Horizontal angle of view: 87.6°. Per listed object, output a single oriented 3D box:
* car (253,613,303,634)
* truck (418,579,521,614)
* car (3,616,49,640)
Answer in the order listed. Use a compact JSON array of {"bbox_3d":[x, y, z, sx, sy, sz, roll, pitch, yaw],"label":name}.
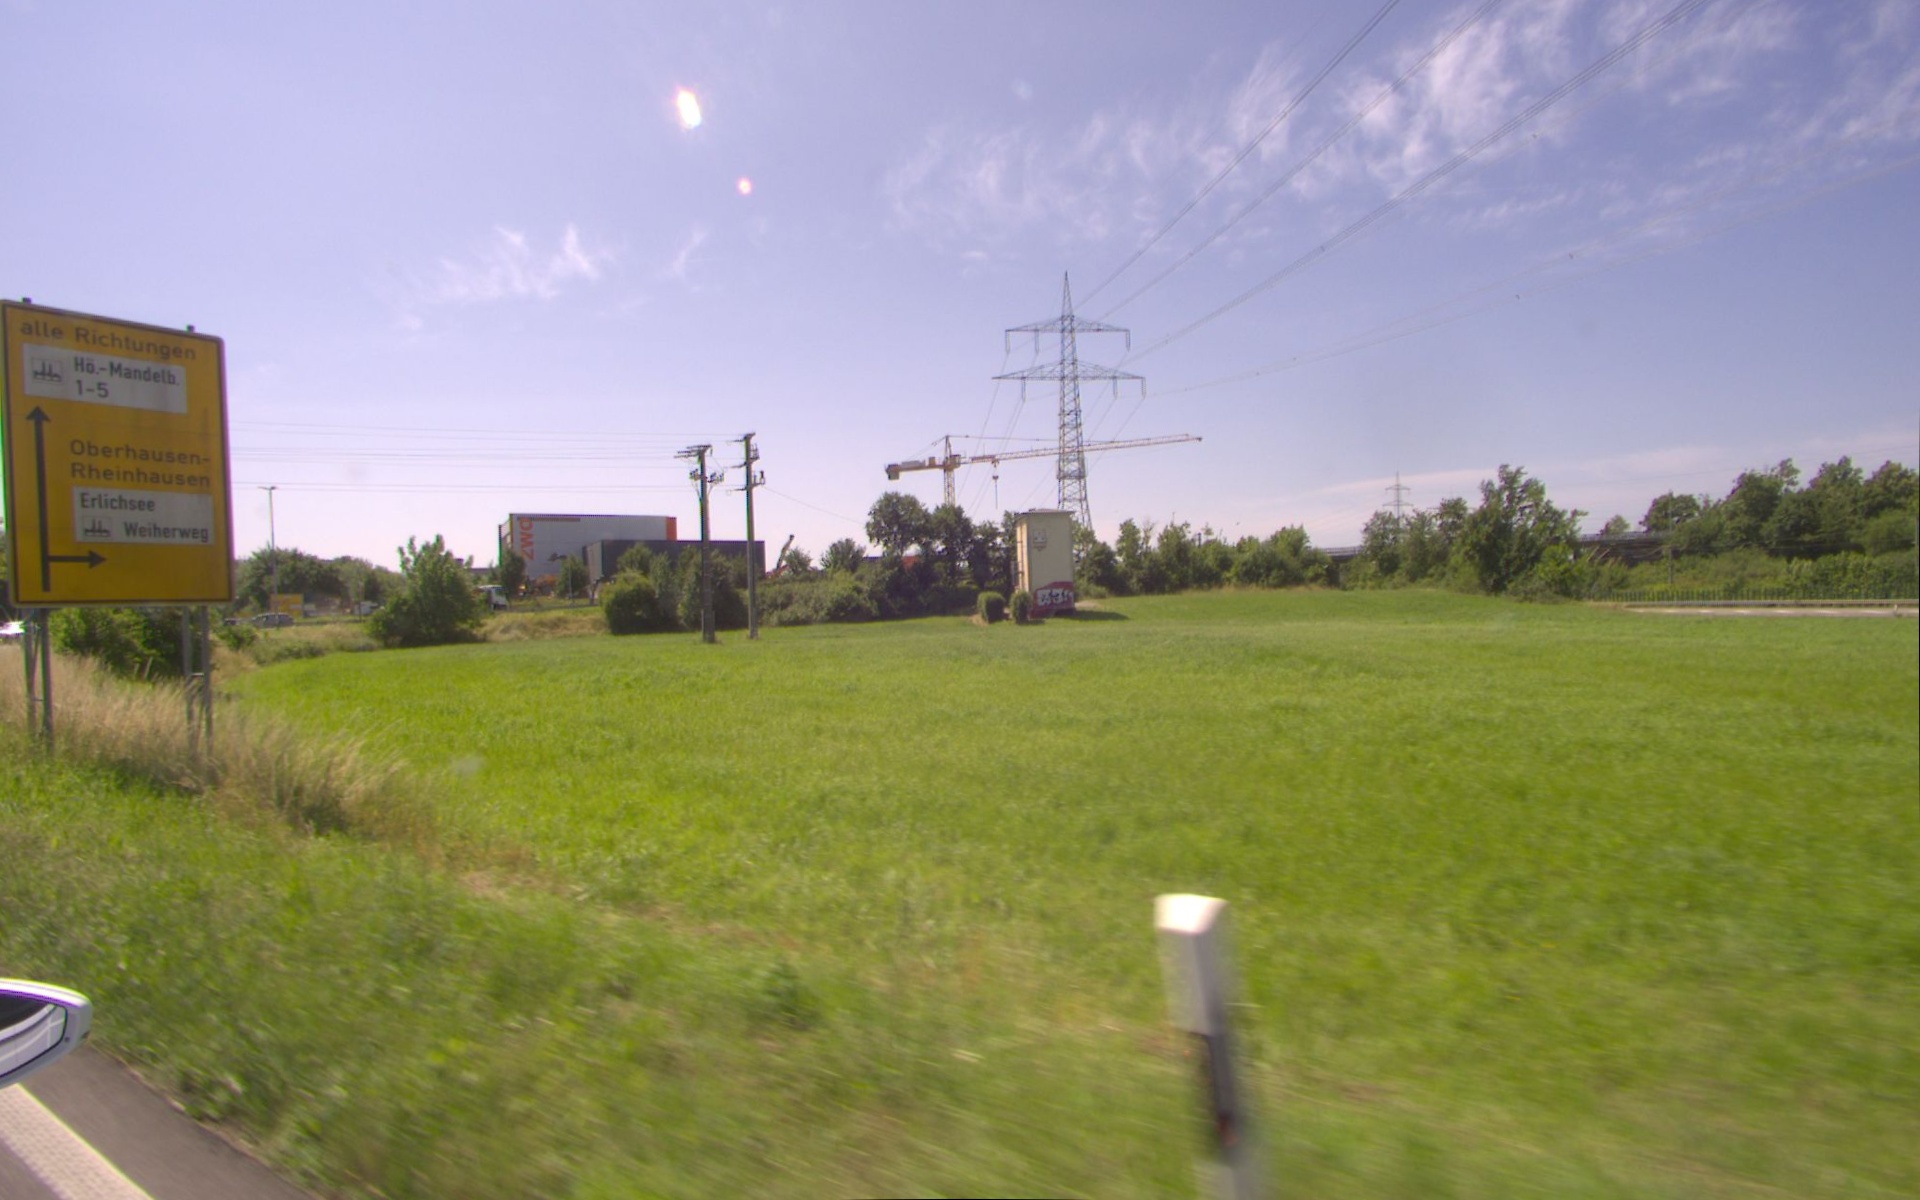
[{"bbox_3d":[-66.807,2.290,98.132,3.948,2.039,1.988,0,-2,-35],"label":"car"},{"bbox_3d":[-48.860,-0.306,99.991,3.072,3.176,8.738,-3,-3,39],"label":"truck"},{"bbox_3d":[-65.912,1.959,70.718,1.724,1.610,3.975,1,-1,-33],"label":"car"}]
